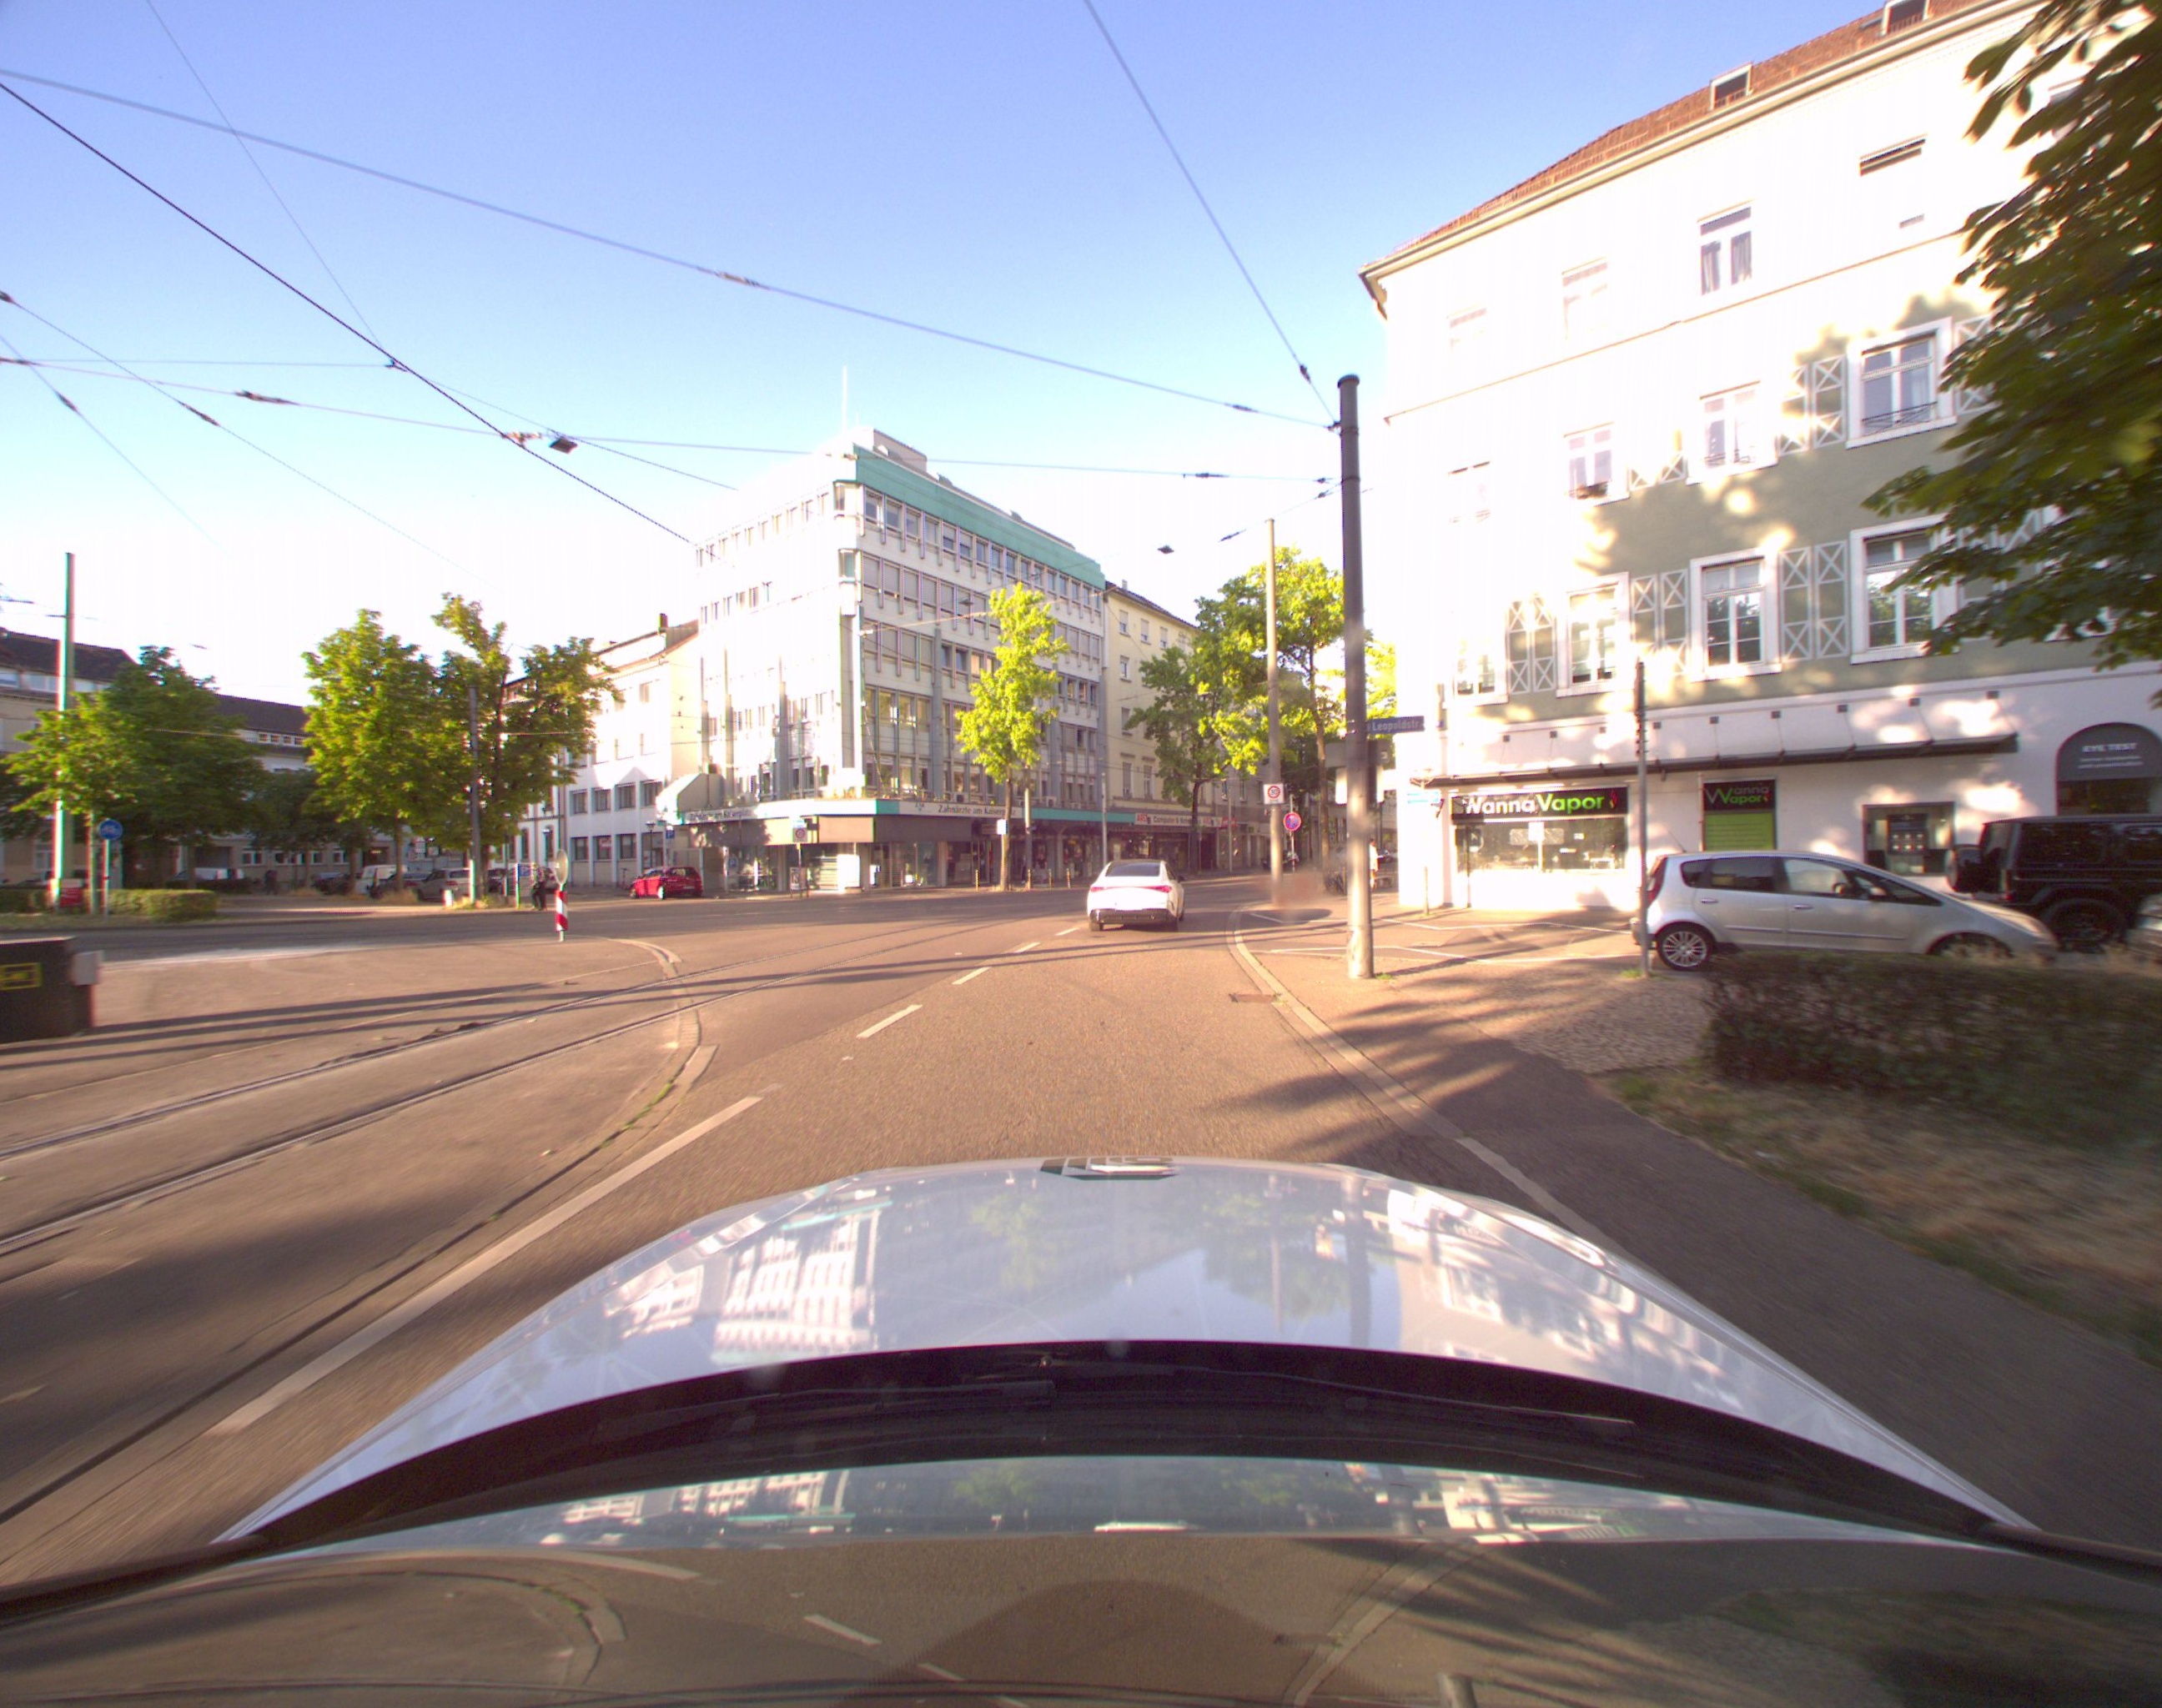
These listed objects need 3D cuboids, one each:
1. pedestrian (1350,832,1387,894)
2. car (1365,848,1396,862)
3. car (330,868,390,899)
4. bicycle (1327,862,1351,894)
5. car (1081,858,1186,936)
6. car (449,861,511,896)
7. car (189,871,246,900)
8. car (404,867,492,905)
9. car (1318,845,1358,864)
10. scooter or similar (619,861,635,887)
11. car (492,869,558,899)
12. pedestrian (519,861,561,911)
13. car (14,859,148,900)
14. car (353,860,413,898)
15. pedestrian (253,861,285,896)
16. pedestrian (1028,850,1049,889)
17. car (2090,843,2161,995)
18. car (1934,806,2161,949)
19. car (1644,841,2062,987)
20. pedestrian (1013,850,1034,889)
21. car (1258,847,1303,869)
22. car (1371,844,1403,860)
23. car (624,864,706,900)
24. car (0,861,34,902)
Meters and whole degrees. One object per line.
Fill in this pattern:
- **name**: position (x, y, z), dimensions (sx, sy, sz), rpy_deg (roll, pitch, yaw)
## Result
- **pedestrian**: position (9.542, 0.294, 27.031), dimensions (0.851, 2.014, 0.833), rpy_deg (0, -1, -44)
- **car**: position (31.023, 0.062, 84.245), dimensions (1.943, 1.412, 4.877), rpy_deg (-1, 0, 33)
- **car**: position (-43.242, 1.727, 48.828), dimensions (3.948, 1.728, 2.013), rpy_deg (-1, 0, 38)
- **bicycle**: position (8.982, 0.813, 28.322), dimensions (0.351, 1.076, 1.710), rpy_deg (-1, 0, 33)
- **car**: position (1.252, 0.832, 17.632), dimensions (1.857, 1.469, 4.053), rpy_deg (0, 0, 9)
- **car**: position (-36.468, 1.470, 49.401), dimensions (3.948, 2.014, 2.013), rpy_deg (-1, -1, 37)
- **car**: position (-63.490, 2.282, 59.868), dimensions (3.948, 2.014, 2.013), rpy_deg (-1, 0, 31)
- **car**: position (-30.427, 1.521, 39.148), dimensions (3.948, 1.684, 2.013), rpy_deg (-1, 0, 31)
- **car**: position (23.228, 0.023, 73.456), dimensions (1.943, 1.639, 4.843), rpy_deg (2, 2, 37)
- **scooter or similar**: position (-26.179, 1.142, 46.972), dimensions (0.757, 1.398, 1.910), rpy_deg (0, 0, -29)
- **car**: position (-31.104, 1.659, 45.555), dimensions (3.948, 1.530, 2.013), rpy_deg (-1, -1, 39)
- **pedestrian**: position (-18.933, 1.105, 28.488), dimensions (1.168, 1.703, 0.897), rpy_deg (-1, -1, -37)
- **car**: position (-53.116, 1.304, 43.356), dimensions (1.978, 2.013, 4.018), rpy_deg (-1, 0, 17)
- **car**: position (-38.956, 1.381, 45.439), dimensions (3.949, 2.014, 2.012), rpy_deg (-1, 0, 41)
- **pedestrian**: position (-47.551, 1.411, 47.675), dimensions (1.446, 2.014, 1.126), rpy_deg (-1, -1, 37)
- **pedestrian**: position (-2.218, 0.797, 42.641), dimensions (0.789, 2.014, 0.739), rpy_deg (-1, -1, 37)
- **car**: position (13.054, 0.605, 7.361), dimensions (4.612, 1.514, 1.750), rpy_deg (-1, 0, 35)
- **car**: position (15.739, 0.303, 11.710), dimensions (4.453, 1.963, 2.036), rpy_deg (-1, 0, 35)
- **car**: position (9.226, 0.651, 10.189), dimensions (3.531, 1.514, 1.750), rpy_deg (-1, 0, 35)
- **pedestrian**: position (-3.033, 0.824, 43.002), dimensions (0.789, 2.014, 0.739), rpy_deg (-1, -1, 37)
- **car**: position (15.567, 0.311, 63.359), dimensions (1.943, 1.640, 4.026), rpy_deg (-1, 0, 37)
- **car**: position (33.681, -0.210, 89.573), dimensions (1.928, 1.640, 4.940), rpy_deg (0, 0, 38)
- **car**: position (-18.827, 1.219, 36.799), dimensions (3.949, 1.485, 2.039), rpy_deg (-1, 0, 42)
- **car**: position (-54.295, 1.367, 39.374), dimensions (1.978, 2.013, 4.018), rpy_deg (-1, 0, 17)
